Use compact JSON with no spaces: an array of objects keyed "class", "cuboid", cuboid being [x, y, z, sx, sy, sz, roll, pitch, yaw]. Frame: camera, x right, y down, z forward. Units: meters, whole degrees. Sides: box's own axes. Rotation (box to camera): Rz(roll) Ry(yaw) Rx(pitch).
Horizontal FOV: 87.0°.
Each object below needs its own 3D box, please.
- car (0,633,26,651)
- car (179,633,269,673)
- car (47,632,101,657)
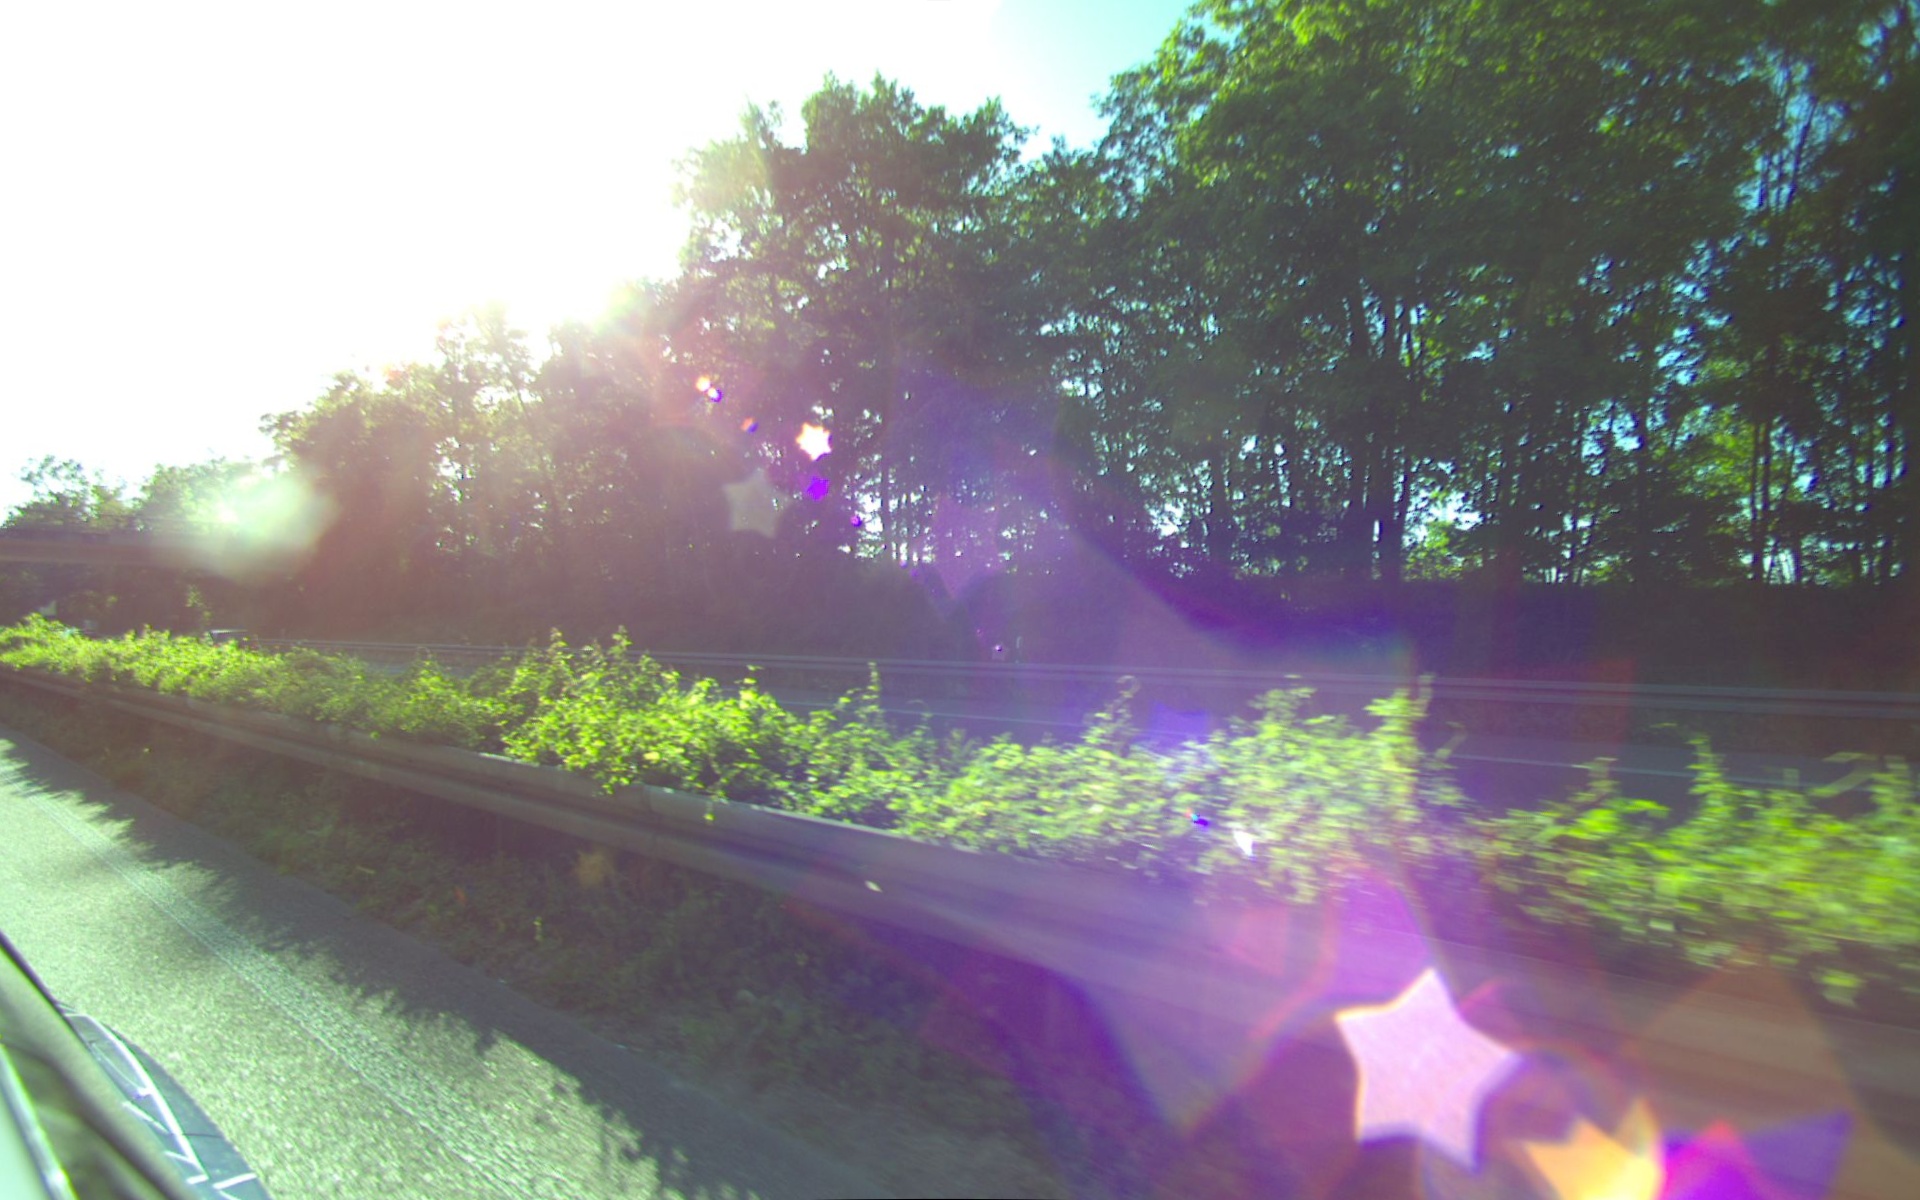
[{"class":"car","cuboid":[-78.049,3.426,82.756,4.703,1.461,1.941,-2,-2,40]},{"class":"car","cuboid":[-29.349,2.066,40.305,4.322,1.461,1.941,-2,-1,40]},{"class":"car","cuboid":[-56.635,2.820,64.674,4.580,1.461,1.941,-2,-1,40]}]
